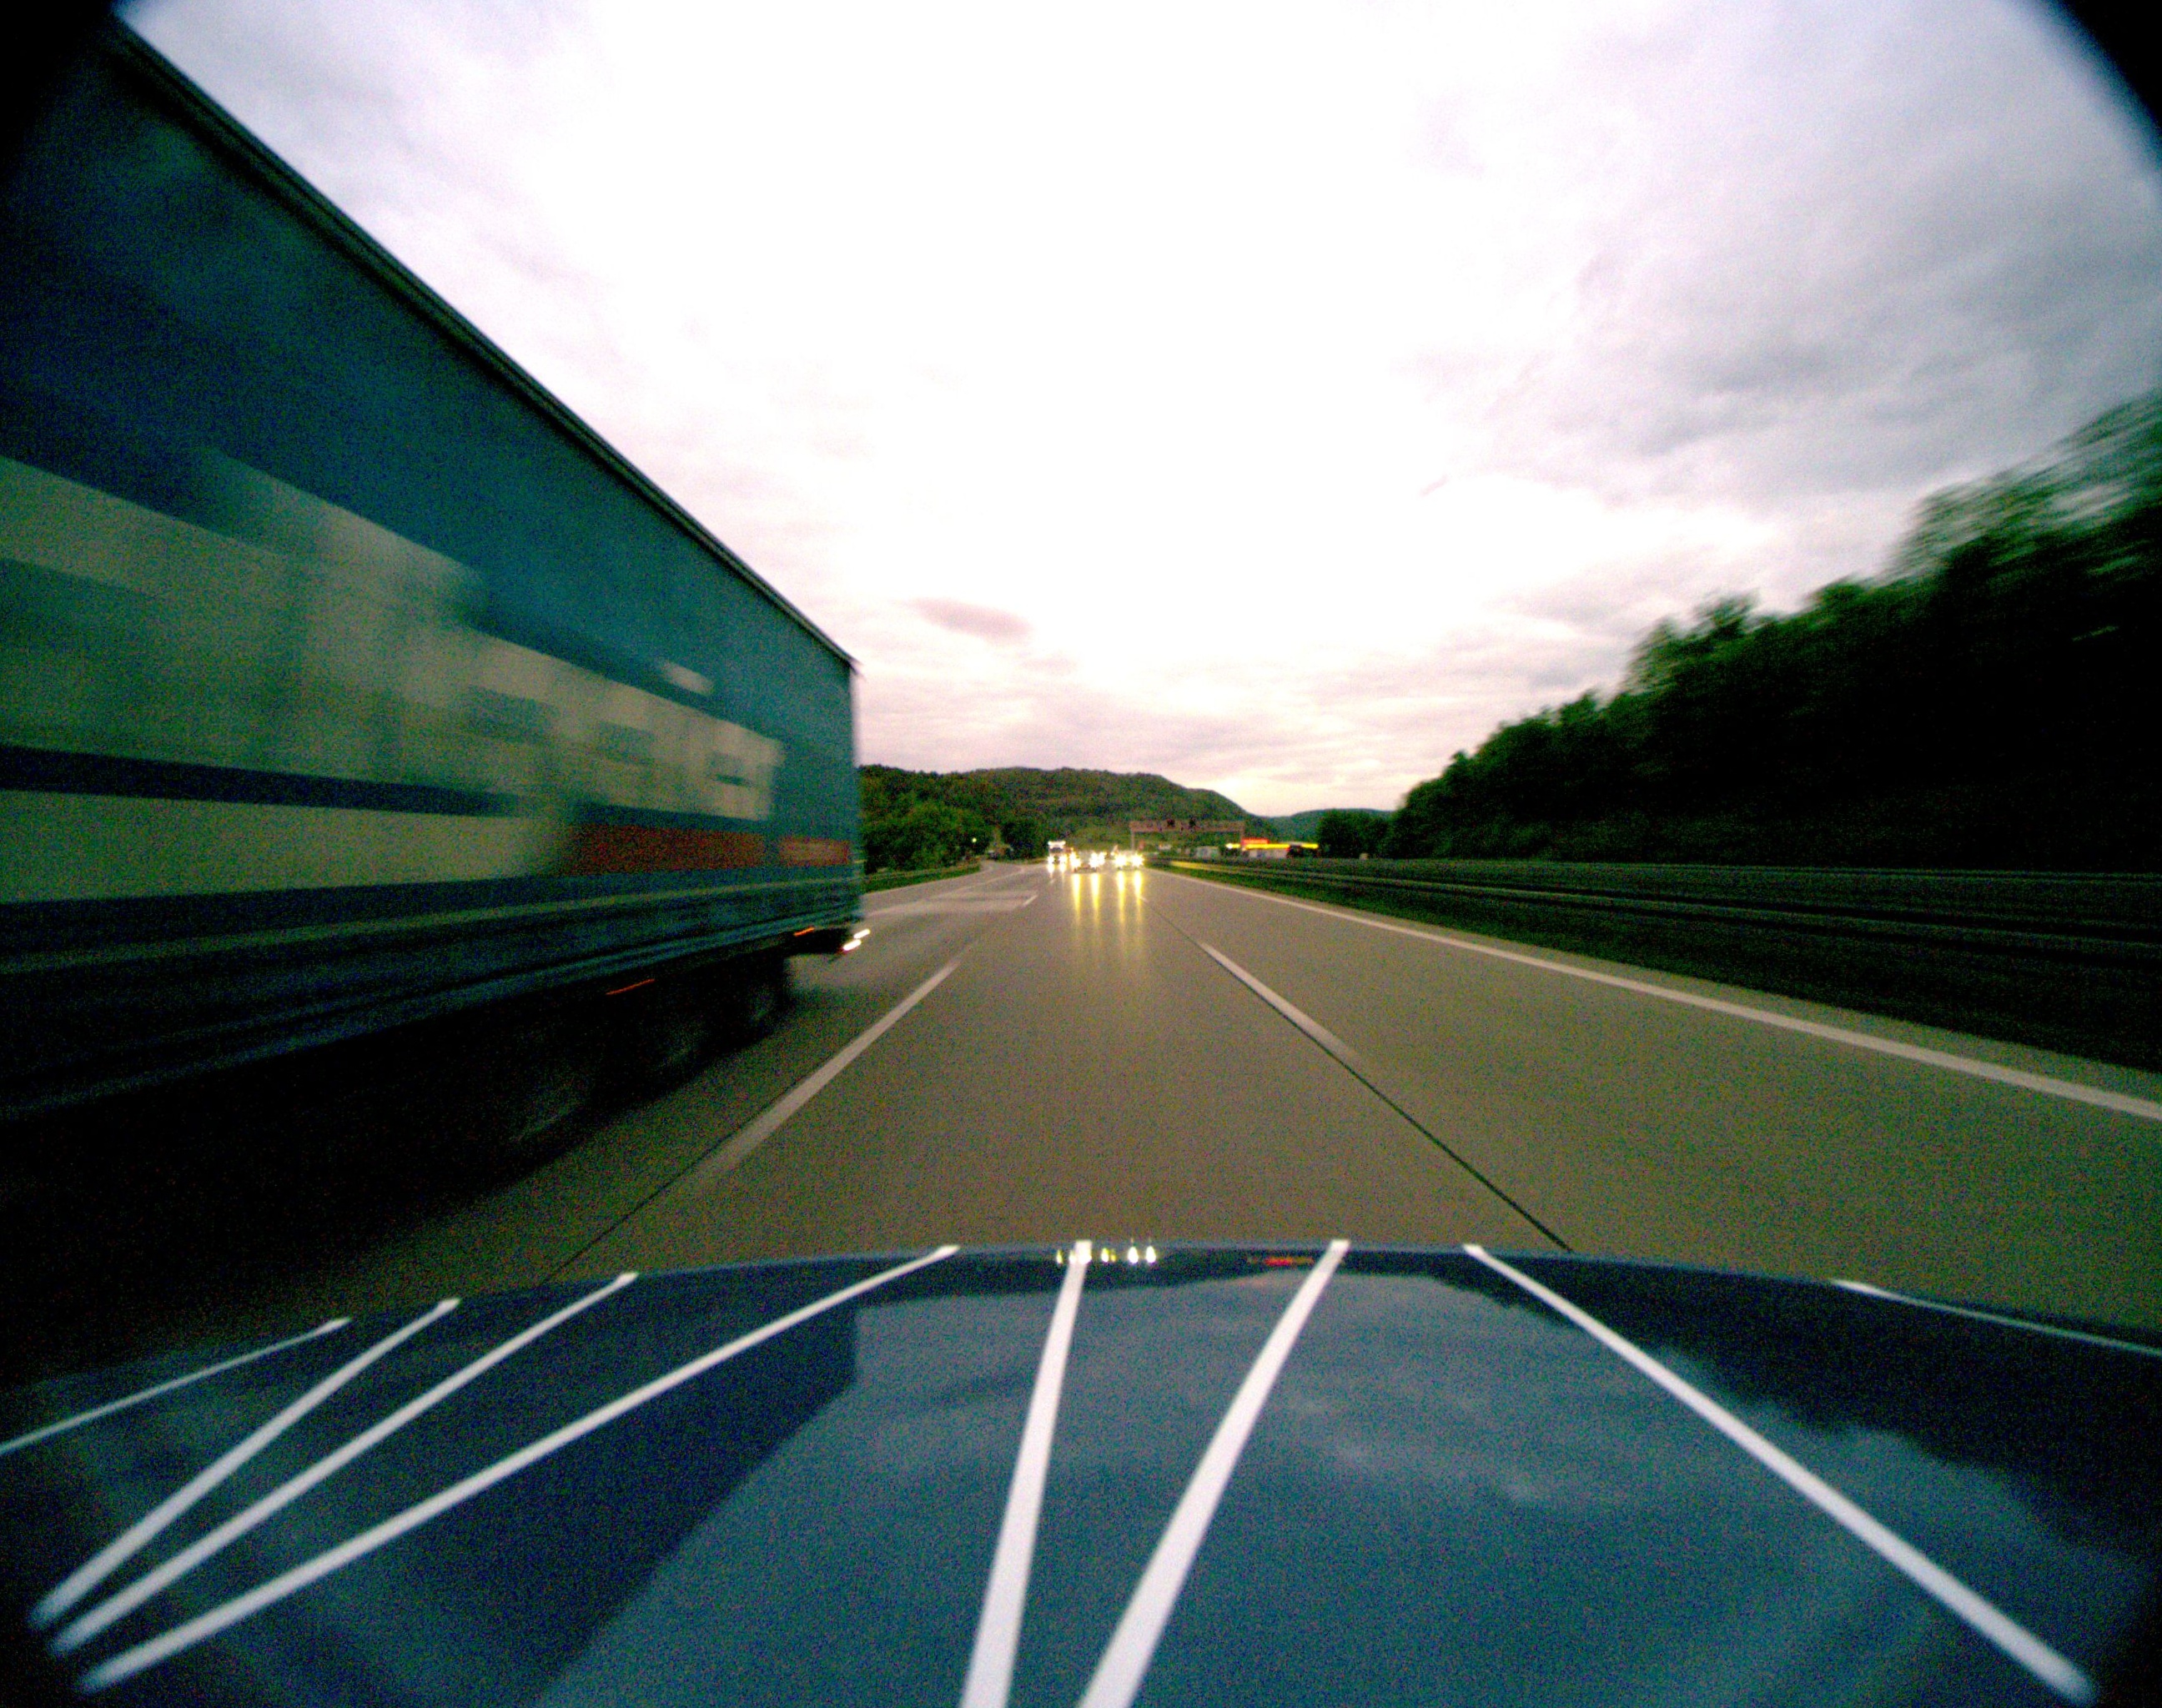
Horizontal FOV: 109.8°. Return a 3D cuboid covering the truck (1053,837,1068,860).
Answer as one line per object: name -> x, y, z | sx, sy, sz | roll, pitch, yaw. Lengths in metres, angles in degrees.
truck -> -3.625, -0.991, 134.275 | 2.623, 3.805, 10.382 | -1, 1, -2

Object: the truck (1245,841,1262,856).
truck -> 50.032, -1.629, 220.146 | 3.025, 4.235, 8.864 | -1, 0, 1

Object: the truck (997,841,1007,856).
truck -> -21.830, -1.534, 210.039 | 2.847, 3.893, 11.981 | -1, 1, -6

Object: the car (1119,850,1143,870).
car -> 4.545, 0.478, 69.533 | 1.894, 1.650, 5.639 | -2, 1, 1

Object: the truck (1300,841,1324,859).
truck -> 49.475, -0.865, 162.758 | 3.006, 3.657, 7.692 | -1, 0, 31

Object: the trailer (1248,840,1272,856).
trailer -> 49.866, -1.552, 212.075 | 3.025, 4.235, 15.946 | -1, 0, 1

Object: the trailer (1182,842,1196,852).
trailer -> 35.992, -2.321, 253.542 | 2.880, 3.405, 13.570 | -2, 0, 1

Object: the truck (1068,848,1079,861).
truck -> -2.328, 0.119, 232.548 | 3.120, 3.850, 14.161 | 2, 1, 0

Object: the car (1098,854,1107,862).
car -> 4.783, 0.883, 169.860 | 1.898, 1.503, 3.999 | -1, 1, -1

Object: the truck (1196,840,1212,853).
truck -> 34.232, -2.155, 211.289 | 2.881, 3.405, 6.723 | -2, 0, -3

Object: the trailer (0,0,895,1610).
trailer -> -3.937, -0.261, 3.120 | 2.779, 4.063, 13.737 | -2, 1, 0

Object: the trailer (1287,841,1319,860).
trailer -> 45.929, -0.772, 156.867 | 3.063, 3.657, 13.367 | -1, 0, 31

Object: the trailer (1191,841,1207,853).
trailer -> 35.359, -2.069, 228.479 | 2.880, 3.405, 13.850 | -2, 0, 1

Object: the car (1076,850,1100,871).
car -> 0.613, 0.485, 64.356 | 1.927, 1.674, 4.806 | -1, 1, 1

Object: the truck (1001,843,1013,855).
truck -> -24.658, -1.775, 254.921 | 3.362, 3.893, 11.984 | -1, 1, -3

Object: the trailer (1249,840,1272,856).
trailer -> 49.968, -1.554, 212.074 | 3.025, 4.235, 15.946 | -1, 0, 1

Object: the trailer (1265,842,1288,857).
trailer -> 49.380, -1.196, 192.434 | 2.880, 3.657, 12.716 | -2, 0, 1

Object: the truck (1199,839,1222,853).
truck -> 34.658, -2.134, 204.180 | 2.881, 3.405, 13.784 | -2, 0, -4
